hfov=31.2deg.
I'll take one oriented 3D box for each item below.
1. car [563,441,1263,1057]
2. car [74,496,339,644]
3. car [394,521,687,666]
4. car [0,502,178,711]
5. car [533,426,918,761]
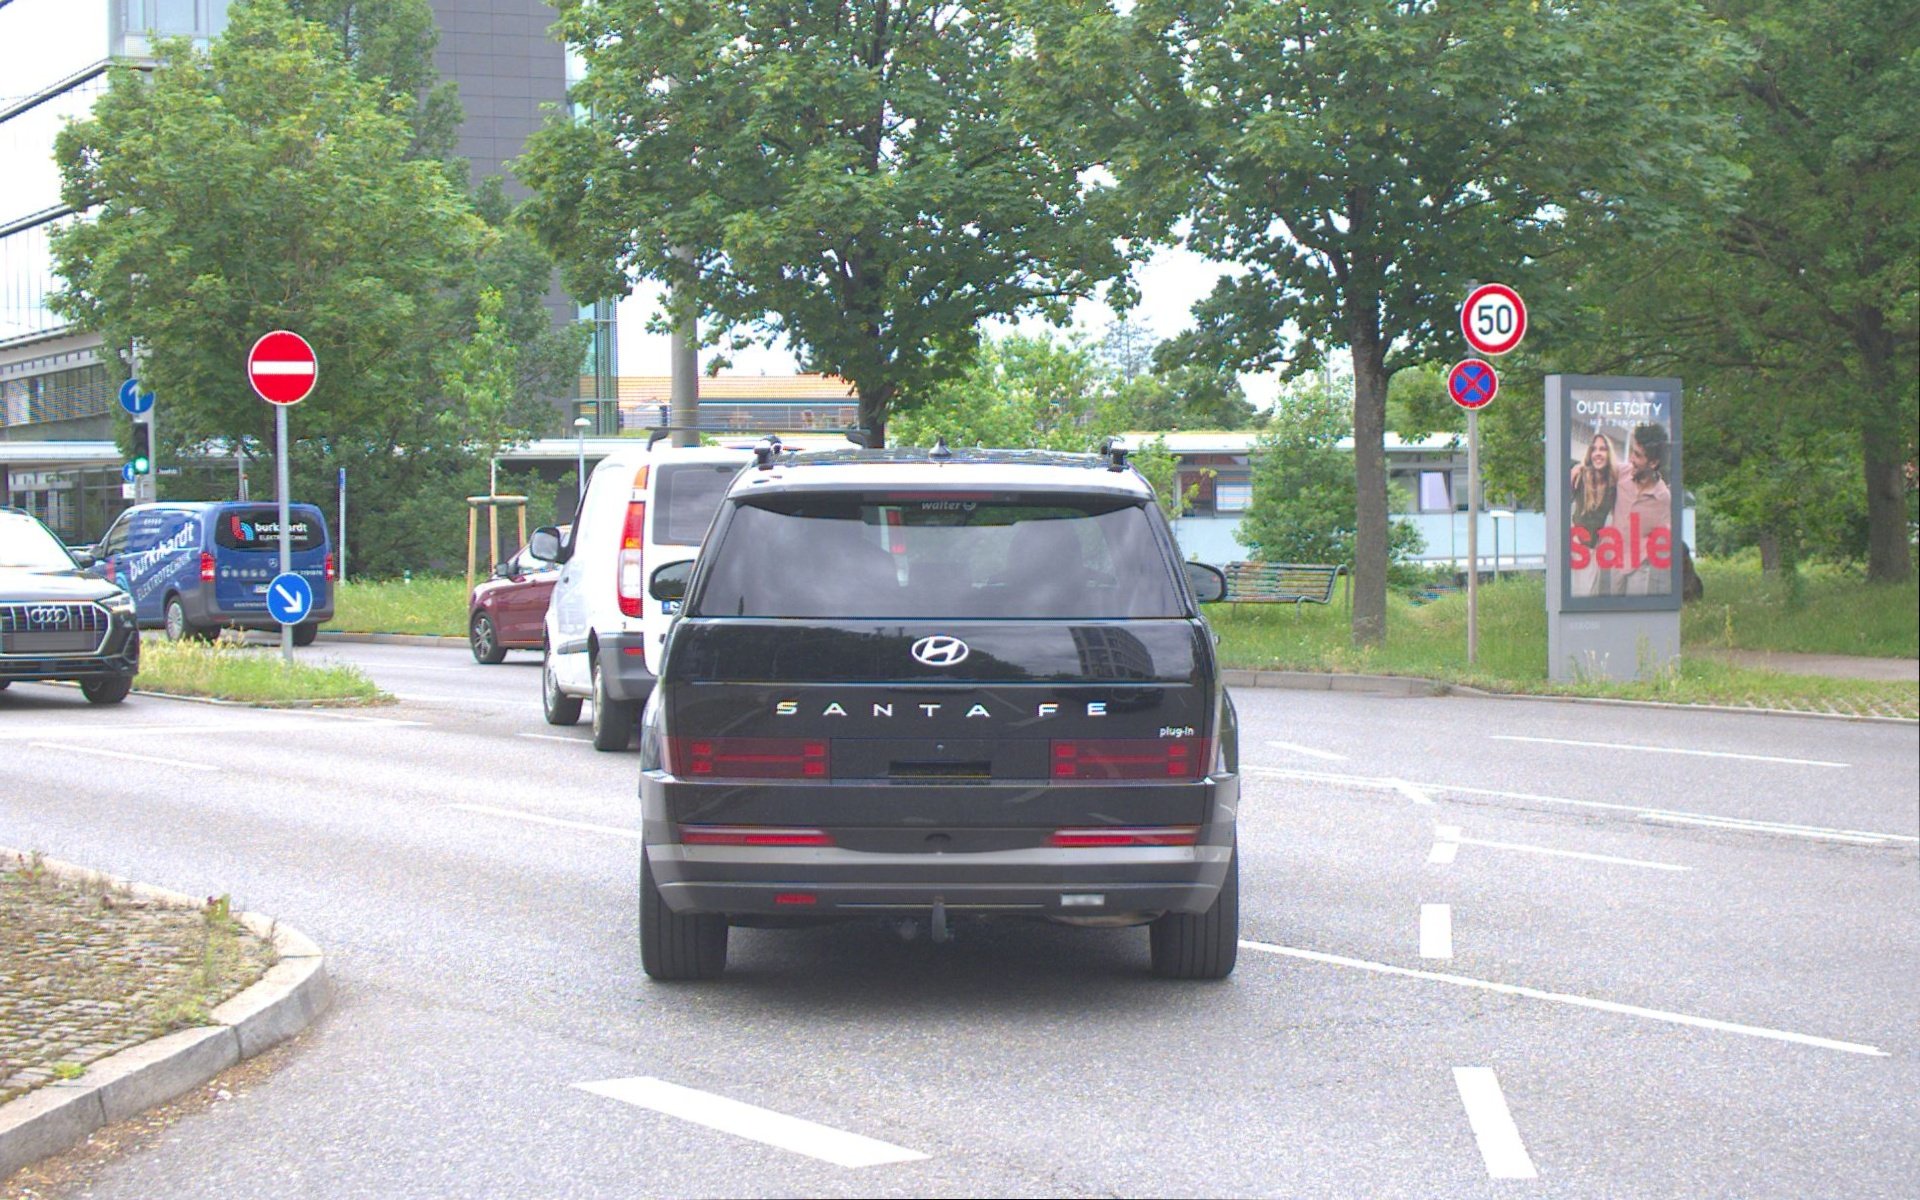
[{"bbox_3d":[0.048,0.378,12.031,1.902,1.725,4.445,1,1,6],"label":"car"},{"bbox_3d":[-10.018,-0.424,45.450,1.902,1.852,4.709,0,1,-32],"label":"car"},{"bbox_3d":[-4.609,-0.107,37.399,1.745,1.476,3.719,0,1,-32],"label":"car"},{"bbox_3d":[-8.136,-0.012,28.042,1.888,1.559,4.395,0,2,-35],"label":"car"},{"bbox_3d":[-1.657,-0.080,22.577,1.901,1.962,4.637,1,1,-12],"label":"car"}]
